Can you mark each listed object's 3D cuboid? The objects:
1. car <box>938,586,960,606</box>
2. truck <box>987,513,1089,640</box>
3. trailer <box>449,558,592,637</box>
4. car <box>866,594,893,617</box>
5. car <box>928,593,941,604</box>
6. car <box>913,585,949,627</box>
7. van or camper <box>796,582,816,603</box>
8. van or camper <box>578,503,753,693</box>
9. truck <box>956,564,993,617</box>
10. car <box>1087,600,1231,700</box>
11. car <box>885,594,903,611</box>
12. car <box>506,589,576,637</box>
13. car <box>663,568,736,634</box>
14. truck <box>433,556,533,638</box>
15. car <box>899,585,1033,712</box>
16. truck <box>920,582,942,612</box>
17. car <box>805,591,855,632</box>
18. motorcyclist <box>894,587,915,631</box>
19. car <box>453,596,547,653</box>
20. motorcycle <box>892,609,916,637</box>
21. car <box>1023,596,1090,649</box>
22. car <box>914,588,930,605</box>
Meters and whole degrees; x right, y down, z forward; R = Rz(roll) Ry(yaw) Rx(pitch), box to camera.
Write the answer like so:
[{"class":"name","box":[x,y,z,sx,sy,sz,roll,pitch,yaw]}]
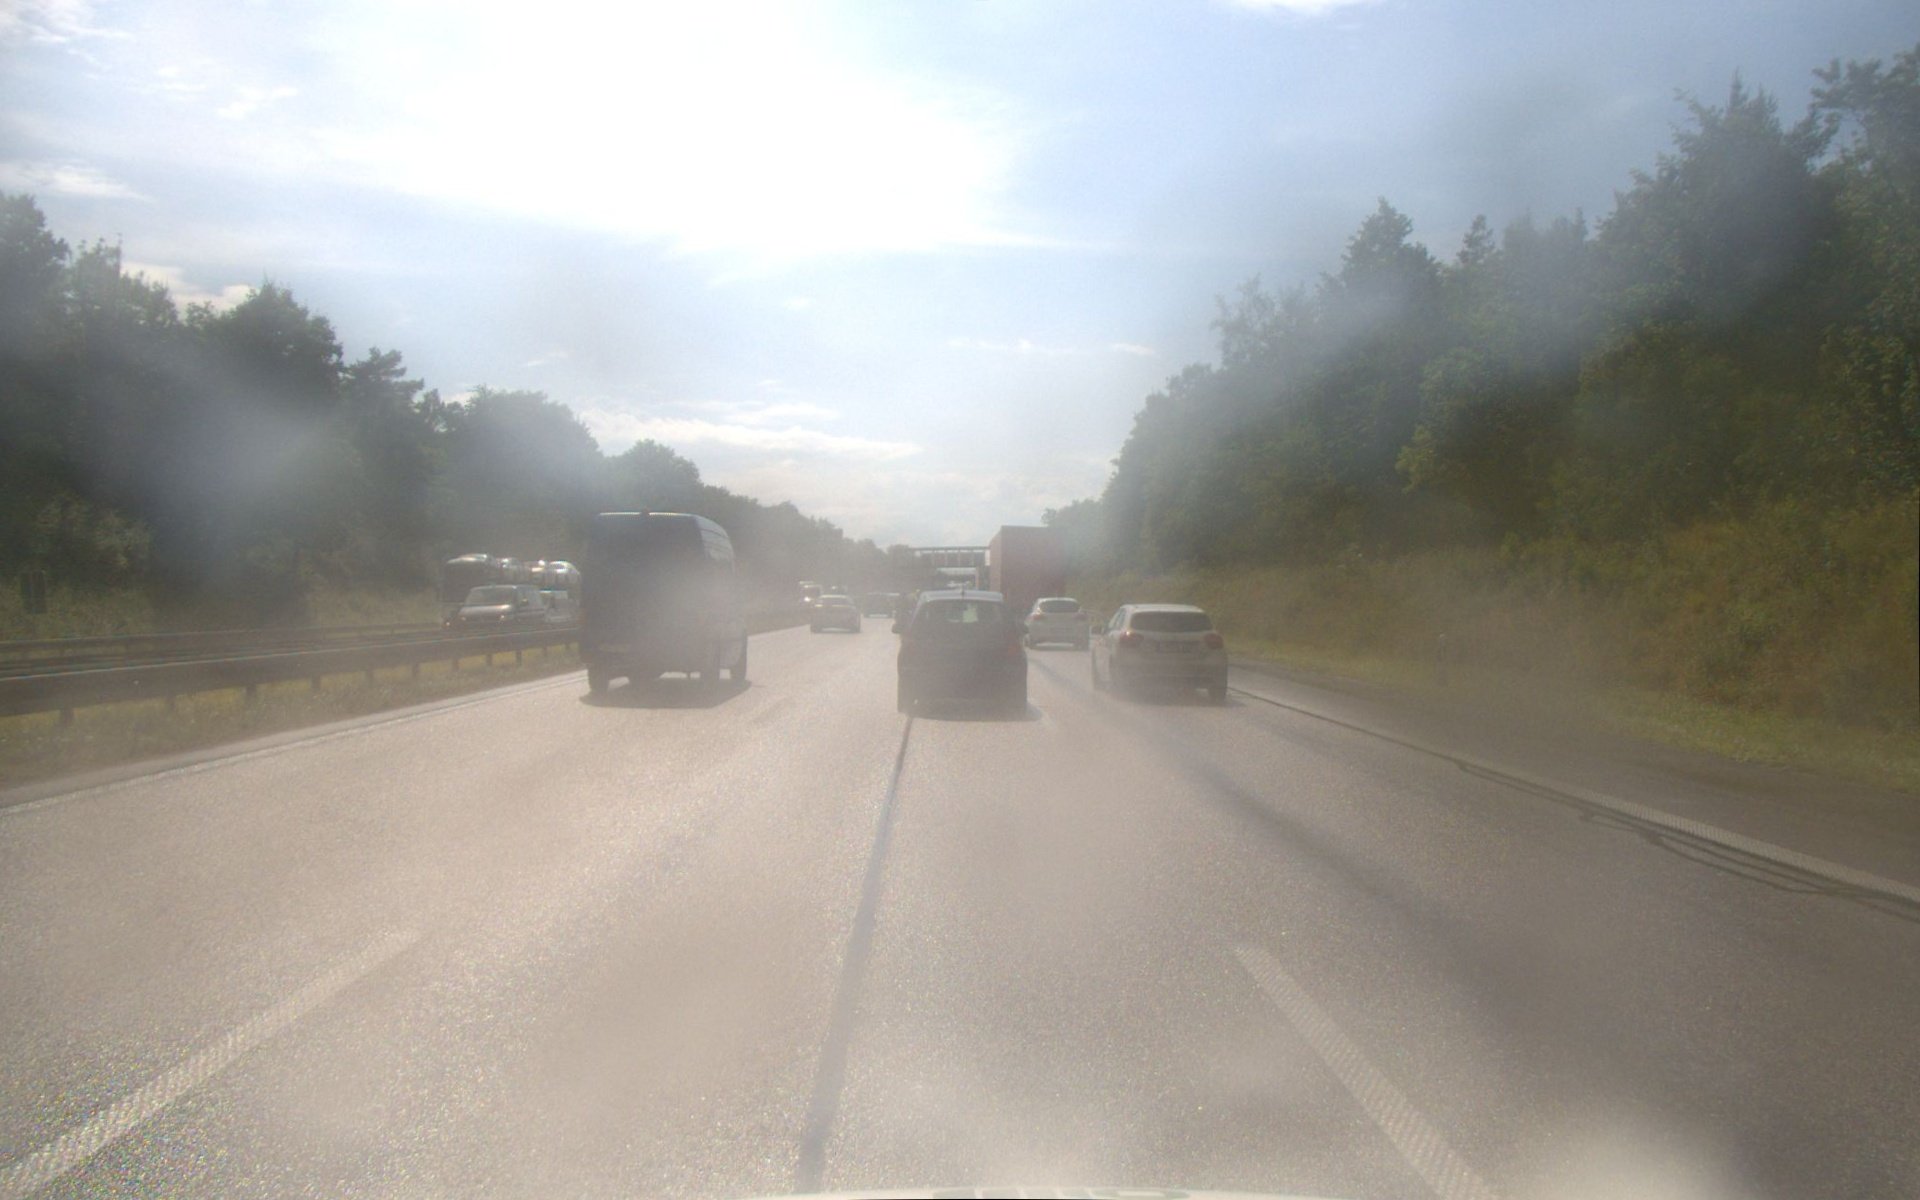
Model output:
[{"class":"car","box":[-0.795,-0.270,119.449,1.521,1.407,3.209,1,0,-2]},{"class":"truck","box":[3.126,-0.886,71.455,3.575,4.803,16.778,1,0,0]},{"class":"trailer","box":[-23.893,-0.125,91.363,2.929,3.898,17.952,1,0,0]},{"class":"car","box":[-5.409,0.356,111.191,1.716,1.482,3.388,1,0,-2]},{"class":"car","box":[-3.926,-0.253,254.140,1.953,1.759,3.999,0,0,-1]},{"class":"car","box":[-1.289,0.260,72.623,1.500,1.777,3.483,1,0,-2]},{"class":"van or camper","box":[-22.531,-1.116,242.362,2.450,2.972,7.135,1,0,-2]},{"class":"van or camper","box":[-4.598,-0.023,26.626,1.953,2.715,5.383,1,0,-2]},{"class":"truck","box":[1.252,-0.823,149.698,3.189,4.558,12.420,1,0,0]},{"class":"car","box":[3.071,0.733,26.302,1.658,1.450,4.218,1,0,-2]},{"class":"car","box":[-5.555,0.235,139.535,1.431,1.418,3.310,1,0,-2]},{"class":"car","box":[-18.197,0.532,72.028,1.831,1.980,5.040,1,0,-2]},{"class":"car","box":[-10.316,0.040,65.941,2.139,2.495,5.746,1,0,-2]},{"class":"truck","box":[-23.899,-0.132,83.293,2.929,3.898,6.864,1,0,0]},{"class":"car","box":[0.031,0.623,22.869,1.683,1.595,3.483,1,0,-2]},{"class":"truck","box":[-2.924,-0.283,167.694,2.148,2.925,4.848,1,0,-2]},{"class":"car","box":[-5.207,0.434,66.612,1.817,1.578,3.483,1,0,-2]},{"class":"motorcyclist","box":[-2.098,0.348,62.819,0.785,1.662,1.013,1,0,-2]},{"class":"car","box":[-14.573,0.750,52.650,1.808,1.692,4.661,1,0,-2]},{"class":"motorcycle","box":[-2.122,0.873,62.861,0.873,1.018,2.895,1,0,-2]},{"class":"car","box":[2.828,0.640,49.128,1.646,1.467,3.903,1,0,-2]},{"class":"car","box":[-4.887,-0.443,211.379,1.953,2.049,3.999,0,0,-1]}]
